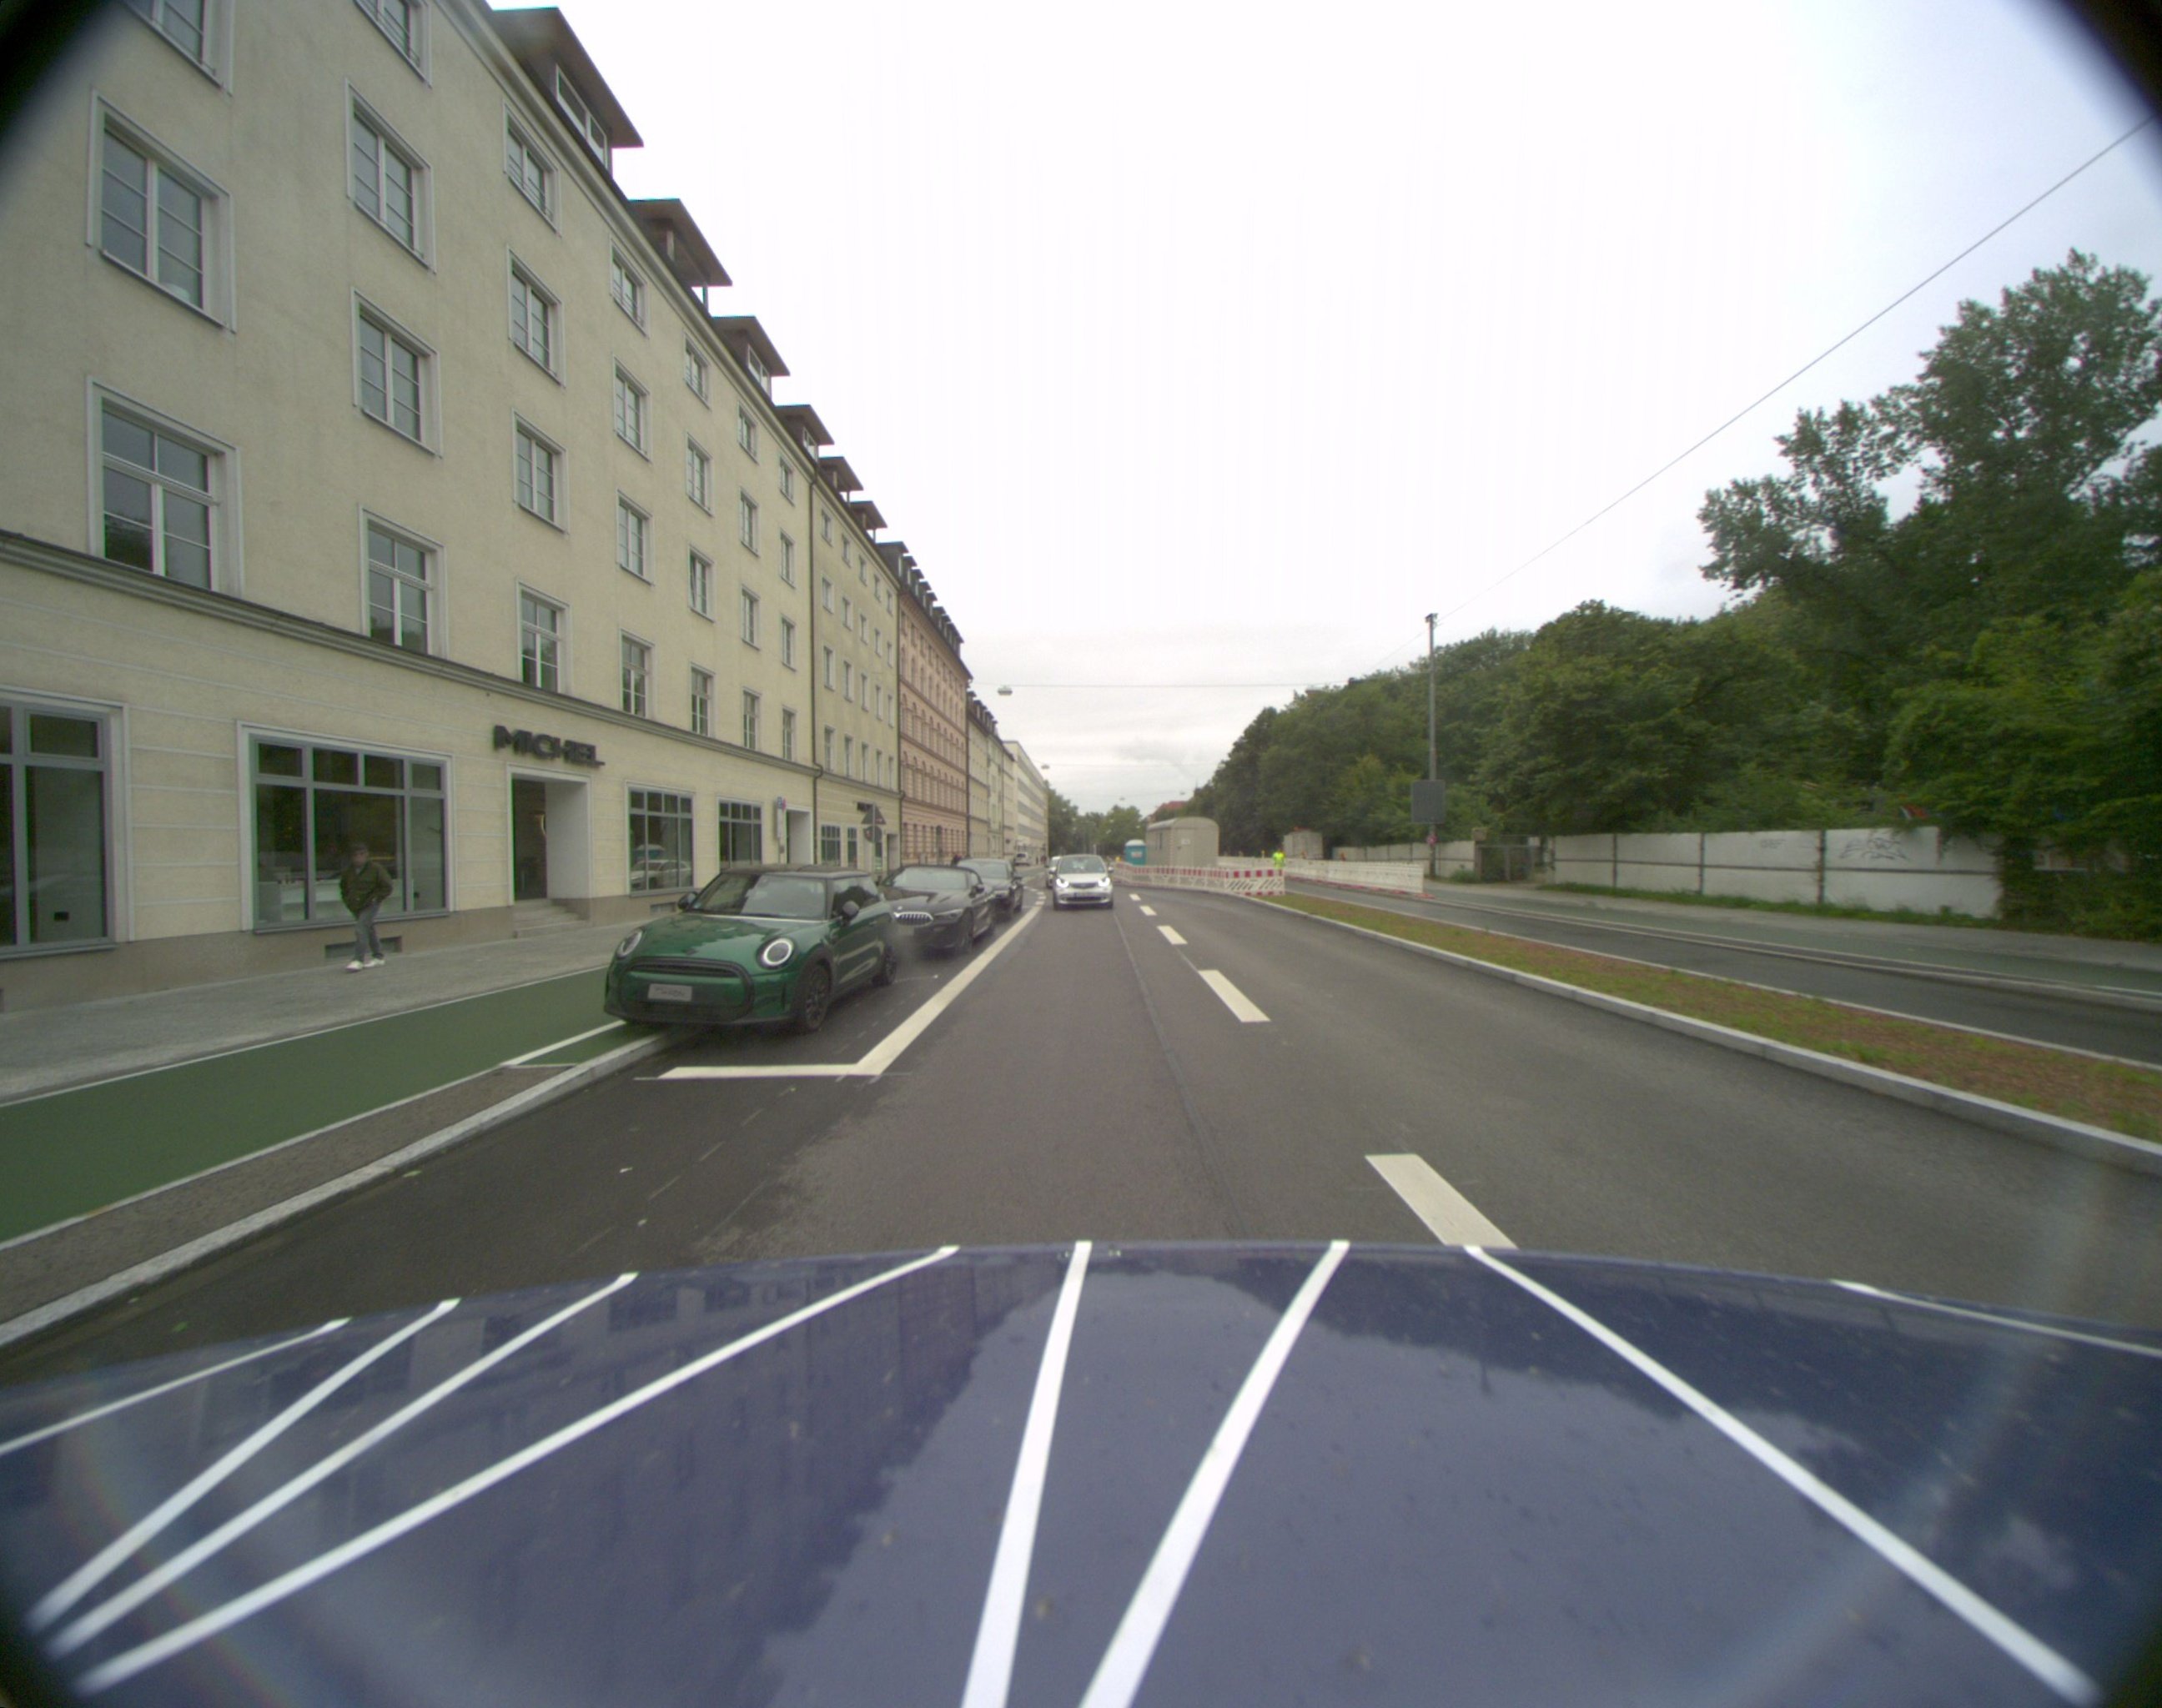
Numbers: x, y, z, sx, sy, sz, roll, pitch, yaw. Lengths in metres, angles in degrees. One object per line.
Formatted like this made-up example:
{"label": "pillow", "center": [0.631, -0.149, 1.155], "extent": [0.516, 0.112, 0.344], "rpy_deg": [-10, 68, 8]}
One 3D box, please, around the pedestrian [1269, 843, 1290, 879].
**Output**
{"label": "pedestrian", "center": [10.638, 0.359, 40.781], "extent": [0.890, 1.930, 0.875], "rpy_deg": [-1, 1, -1]}

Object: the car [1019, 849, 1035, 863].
{"label": "car", "center": [-7.164, 0.207, 100.668], "extent": [1.766, 1.821, 4.000], "rpy_deg": [-1, 0, 1]}

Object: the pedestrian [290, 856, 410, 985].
{"label": "pedestrian", "center": [-9.970, 0.877, 10.394], "extent": [0.780, 1.679, 0.861], "rpy_deg": [0, 1, 2]}

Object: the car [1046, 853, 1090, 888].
{"label": "car", "center": [-0.533, 0.716, 35.335], "extent": [1.813, 1.472, 4.462], "rpy_deg": [-2, 0, 1]}

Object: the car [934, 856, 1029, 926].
{"label": "car", "center": [-2.406, 0.848, 19.477], "extent": [1.813, 1.472, 4.461], "rpy_deg": [3, 0, 0]}

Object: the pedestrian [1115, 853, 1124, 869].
{"label": "pedestrian", "center": [4.355, 0.820, 85.759], "extent": [0.860, 1.826, 0.874], "rpy_deg": [-1, 1, -6]}

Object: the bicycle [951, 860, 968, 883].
{"label": "bicycle", "center": [-5.775, 0.800, 36.132], "extent": [0.632, 1.031, 2.017], "rpy_deg": [-1, 0, -5]}

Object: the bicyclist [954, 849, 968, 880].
{"label": "bicyclist", "center": [-5.710, 0.477, 36.150], "extent": [0.632, 1.459, 0.652], "rpy_deg": [-1, 1, -5]}

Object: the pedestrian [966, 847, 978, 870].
{"label": "pedestrian", "center": [-8.355, 0.305, 58.194], "extent": [0.795, 1.735, 0.833], "rpy_deg": [-1, 1, 2]}

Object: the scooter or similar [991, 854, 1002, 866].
{"label": "scooter or similar", "center": [-8.687, 0.624, 78.233], "extent": [0.552, 1.238, 1.079], "rpy_deg": [0, 1, 36]}

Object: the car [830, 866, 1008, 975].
{"label": "car", "center": [-2.541, 0.982, 13.185], "extent": [1.830, 1.399, 4.720], "rpy_deg": [-2, 0, 3]}

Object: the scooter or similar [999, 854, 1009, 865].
{"label": "scooter or similar", "center": [-8.412, 0.632, 83.027], "extent": [1.078, 1.185, 0.453], "rpy_deg": [-1, 1, -28]}

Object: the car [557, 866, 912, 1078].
{"label": "car", "center": [-3.100, 0.942, 7.759], "extent": [1.679, 1.512, 3.830], "rpy_deg": [-2, 0, 3]}

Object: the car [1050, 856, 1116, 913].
{"label": "car", "center": [0.015, 0.846, 22.747], "extent": [1.759, 1.461, 3.999], "rpy_deg": [-2, 0, -1]}

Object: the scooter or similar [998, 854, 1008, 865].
{"label": "scooter or similar", "center": [-8.654, 0.642, 84.367], "extent": [1.079, 1.185, 0.436], "rpy_deg": [-1, 1, -39]}

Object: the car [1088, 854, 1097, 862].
{"label": "car", "center": [2.212, 0.748, 149.083], "extent": [1.759, 1.461, 3.999], "rpy_deg": [-2, 0, 0]}
